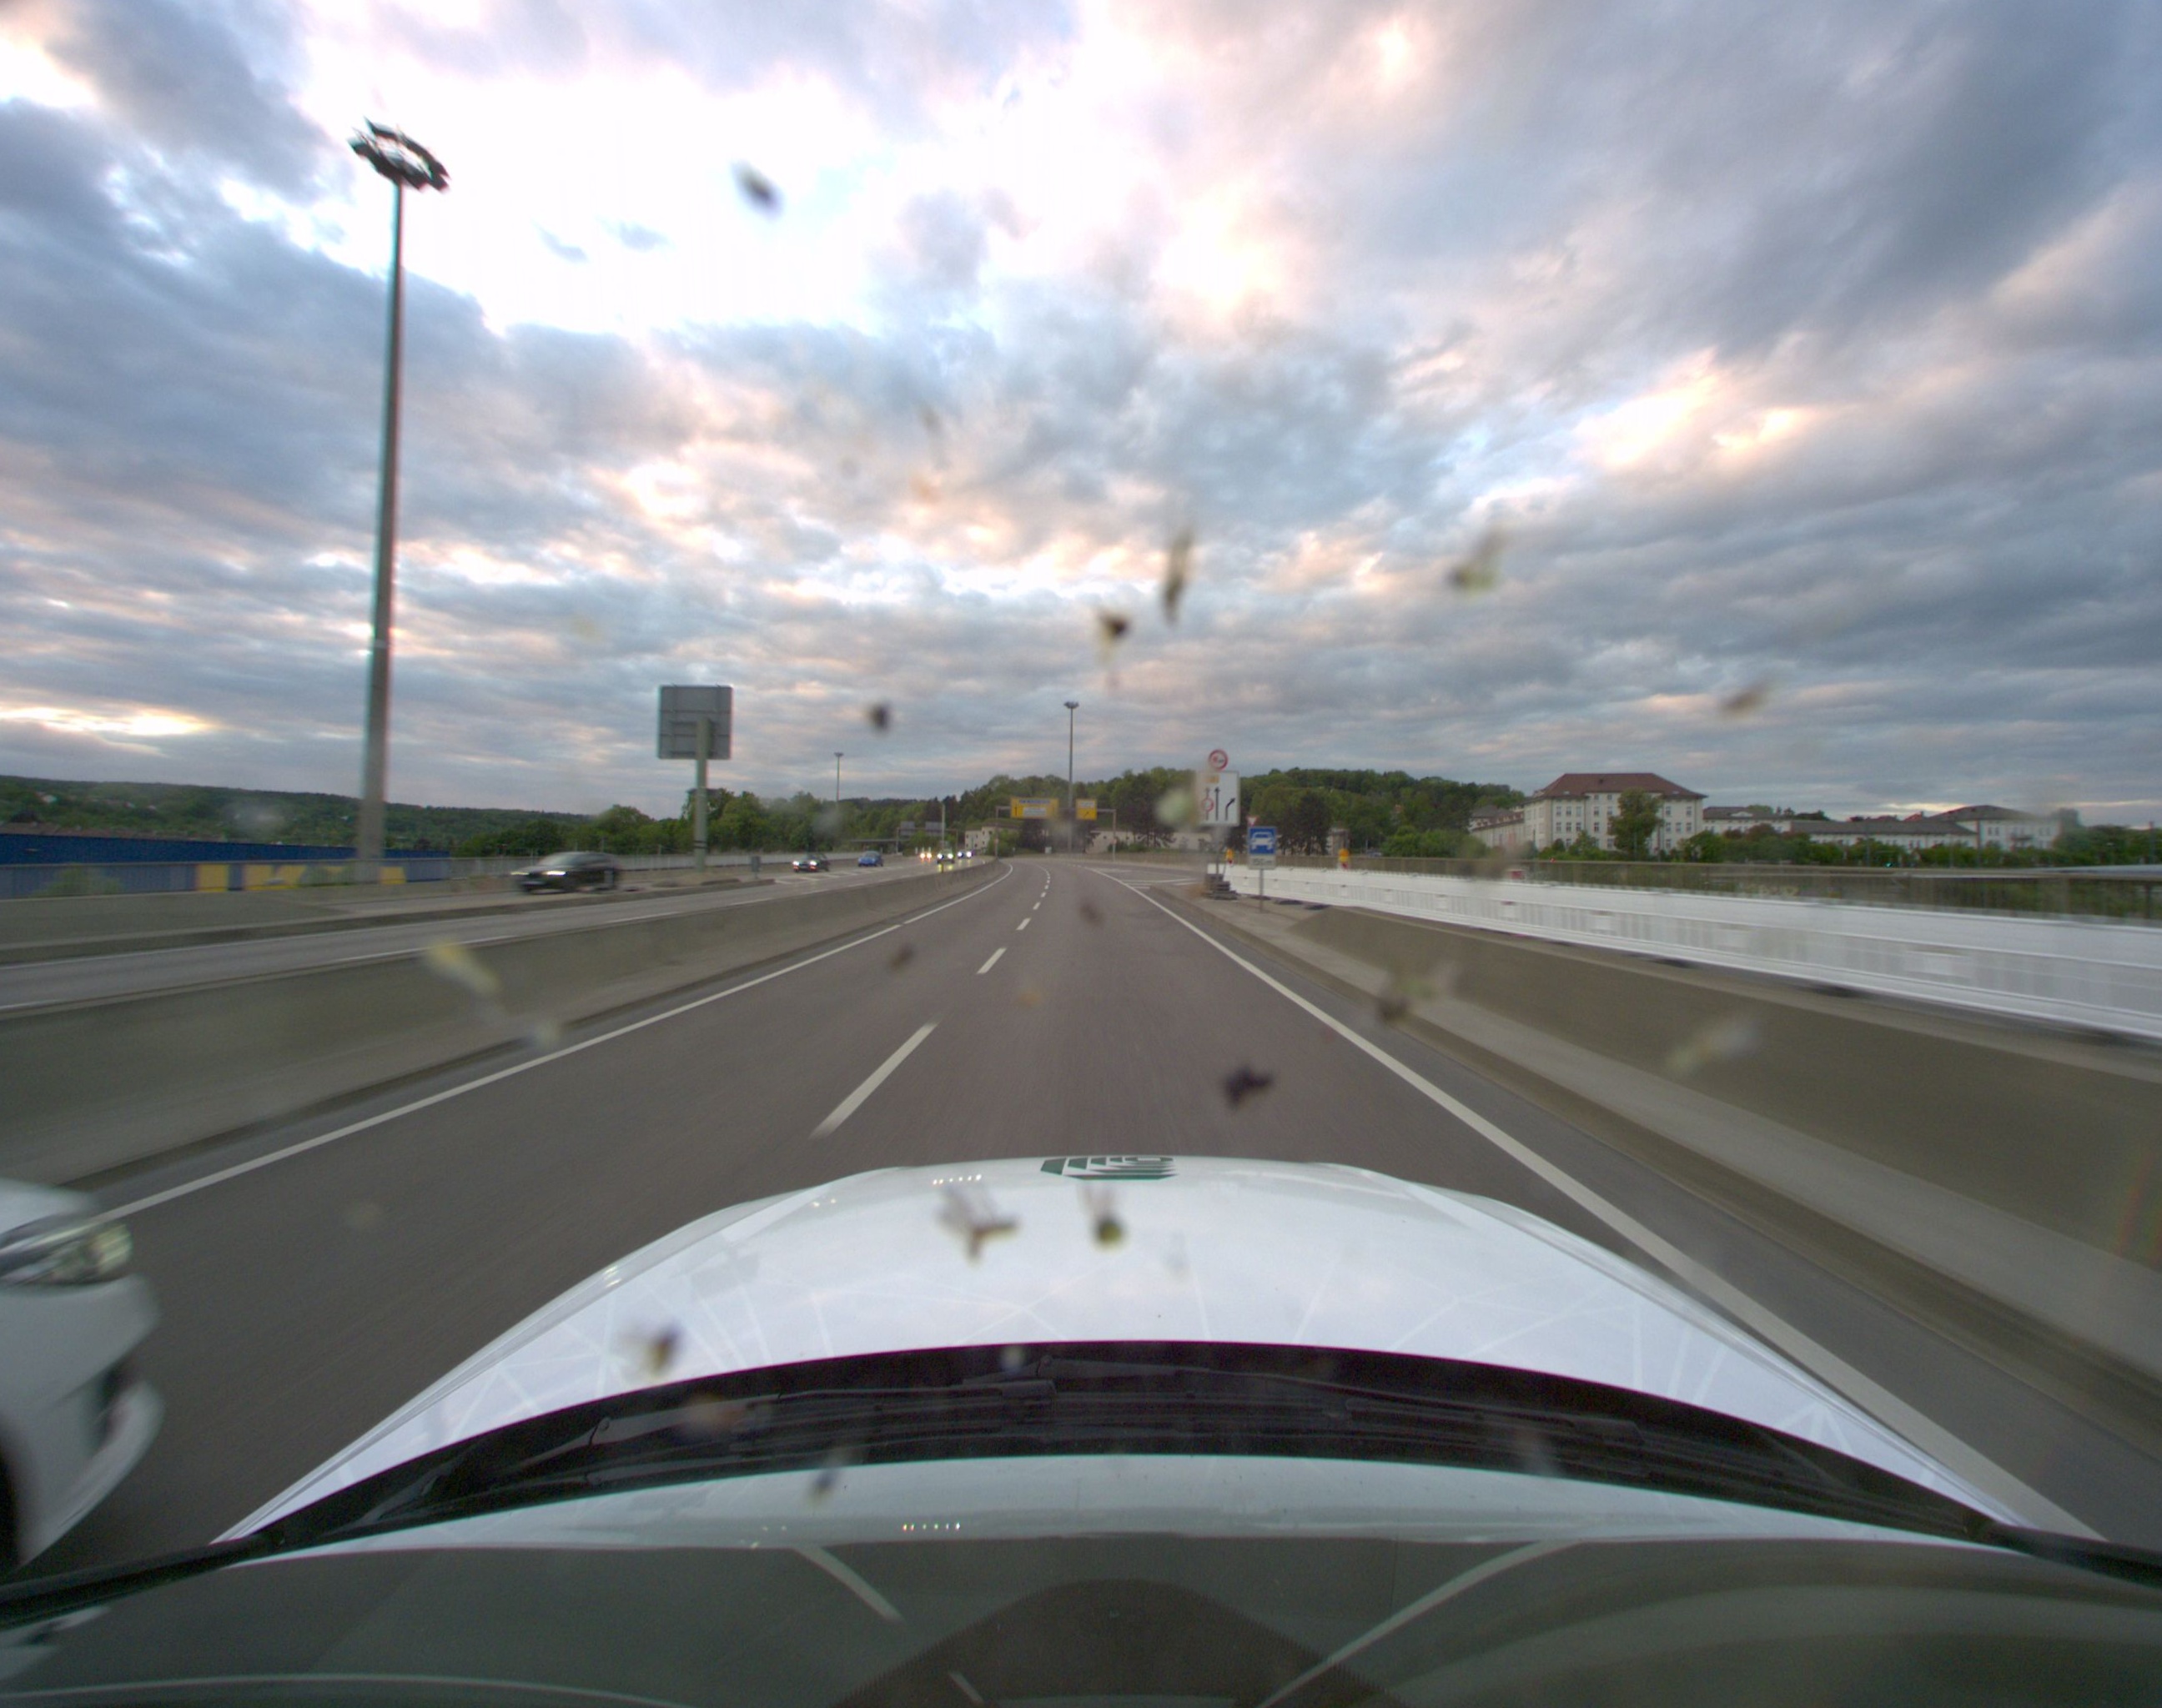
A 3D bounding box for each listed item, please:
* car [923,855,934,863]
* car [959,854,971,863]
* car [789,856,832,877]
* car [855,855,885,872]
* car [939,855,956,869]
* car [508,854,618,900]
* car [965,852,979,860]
[{"bbox_3d":[-29.993,1.006,160.233,1.734,1.476,4.202,1,0,-15],"label":"car"},{"bbox_3d":[-18.750,0.721,131.621,1.812,1.534,4.529,1,0,-11],"label":"car"},{"bbox_3d":[-19.755,0.954,59.701,1.790,1.486,3.841,0,-1,1],"label":"car"},{"bbox_3d":[-20.227,0.894,78.135,1.892,1.596,4.161,0,0,-1],"label":"car"},{"bbox_3d":[-14.822,0.890,90.342,1.709,1.494,4.070,1,0,-7],"label":"car"},{"bbox_3d":[-20.790,0.891,32.894,1.629,1.717,4.004,0,0,4],"label":"car"},{"bbox_3d":[-26.278,0.423,196.284,2.311,1.764,4.235,2,0,-19],"label":"car"}]
